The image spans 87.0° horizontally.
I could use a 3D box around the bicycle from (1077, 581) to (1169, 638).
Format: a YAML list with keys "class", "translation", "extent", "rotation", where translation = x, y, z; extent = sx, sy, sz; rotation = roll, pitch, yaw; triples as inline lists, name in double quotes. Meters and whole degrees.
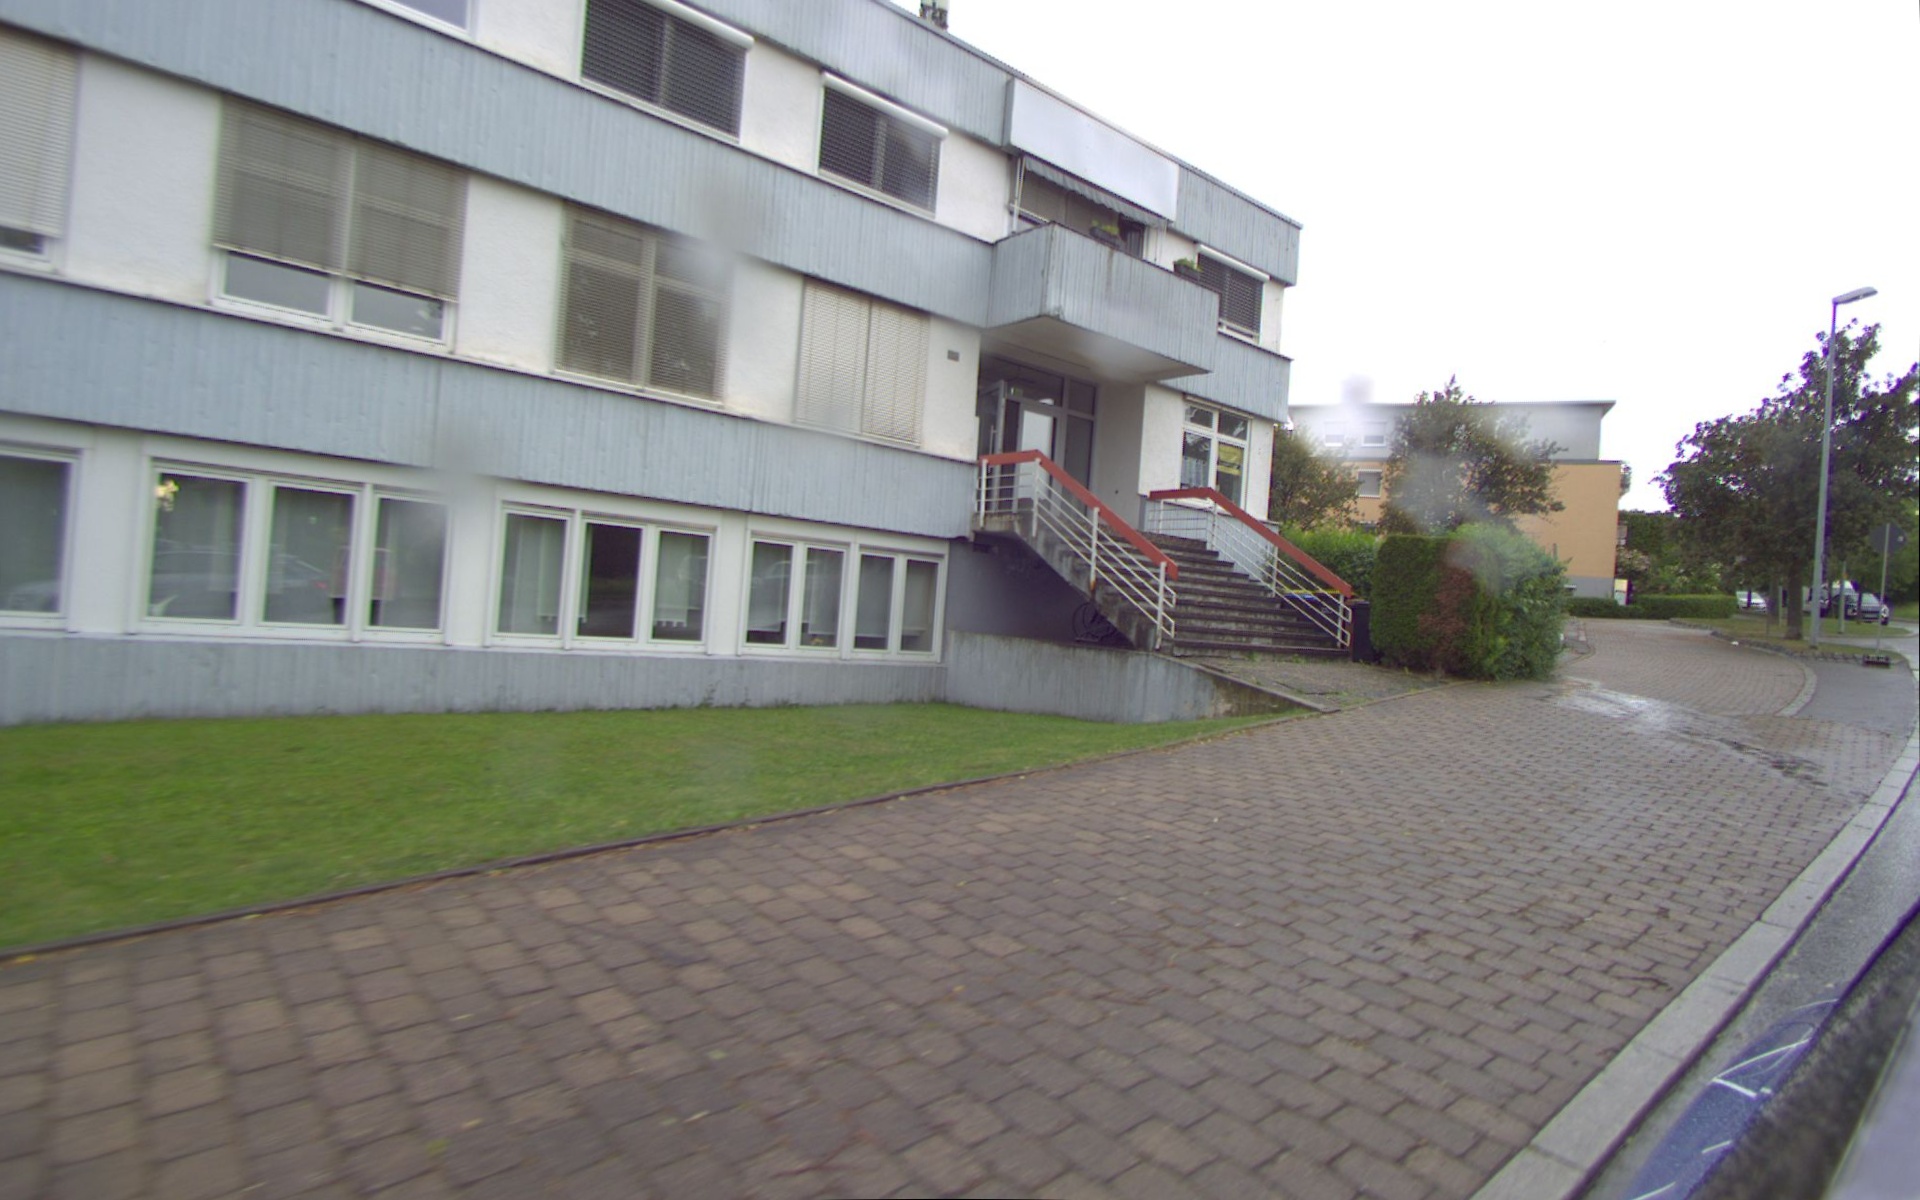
- class: "bicycle"
  translation: [2.598, 0.141, 16.181]
  extent: [1.409, 0.840, 0.283]
  rotation: [3, 2, 29]

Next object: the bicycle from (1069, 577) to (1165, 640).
- class: "bicycle"
  translation: [2.456, 0.113, 15.918]
  extent: [1.458, 0.913, 0.283]
  rotation: [3, 2, 29]

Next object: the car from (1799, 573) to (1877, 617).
- class: "car"
  translation: [51.699, -0.327, 59.736]
  extent: [2.034, 2.360, 5.359]
  rotation: [3, 2, 26]

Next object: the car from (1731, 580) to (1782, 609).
- class: "car"
  translation: [57.812, -0.428, 73.515]
  extent: [1.804, 1.806, 3.793]
  rotation: [3, 4, 22]

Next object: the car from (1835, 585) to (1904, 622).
- class: "car"
  translation: [48.881, 0.152, 54.480]
  extent: [1.803, 1.747, 4.602]
  rotation: [3, 3, 31]
